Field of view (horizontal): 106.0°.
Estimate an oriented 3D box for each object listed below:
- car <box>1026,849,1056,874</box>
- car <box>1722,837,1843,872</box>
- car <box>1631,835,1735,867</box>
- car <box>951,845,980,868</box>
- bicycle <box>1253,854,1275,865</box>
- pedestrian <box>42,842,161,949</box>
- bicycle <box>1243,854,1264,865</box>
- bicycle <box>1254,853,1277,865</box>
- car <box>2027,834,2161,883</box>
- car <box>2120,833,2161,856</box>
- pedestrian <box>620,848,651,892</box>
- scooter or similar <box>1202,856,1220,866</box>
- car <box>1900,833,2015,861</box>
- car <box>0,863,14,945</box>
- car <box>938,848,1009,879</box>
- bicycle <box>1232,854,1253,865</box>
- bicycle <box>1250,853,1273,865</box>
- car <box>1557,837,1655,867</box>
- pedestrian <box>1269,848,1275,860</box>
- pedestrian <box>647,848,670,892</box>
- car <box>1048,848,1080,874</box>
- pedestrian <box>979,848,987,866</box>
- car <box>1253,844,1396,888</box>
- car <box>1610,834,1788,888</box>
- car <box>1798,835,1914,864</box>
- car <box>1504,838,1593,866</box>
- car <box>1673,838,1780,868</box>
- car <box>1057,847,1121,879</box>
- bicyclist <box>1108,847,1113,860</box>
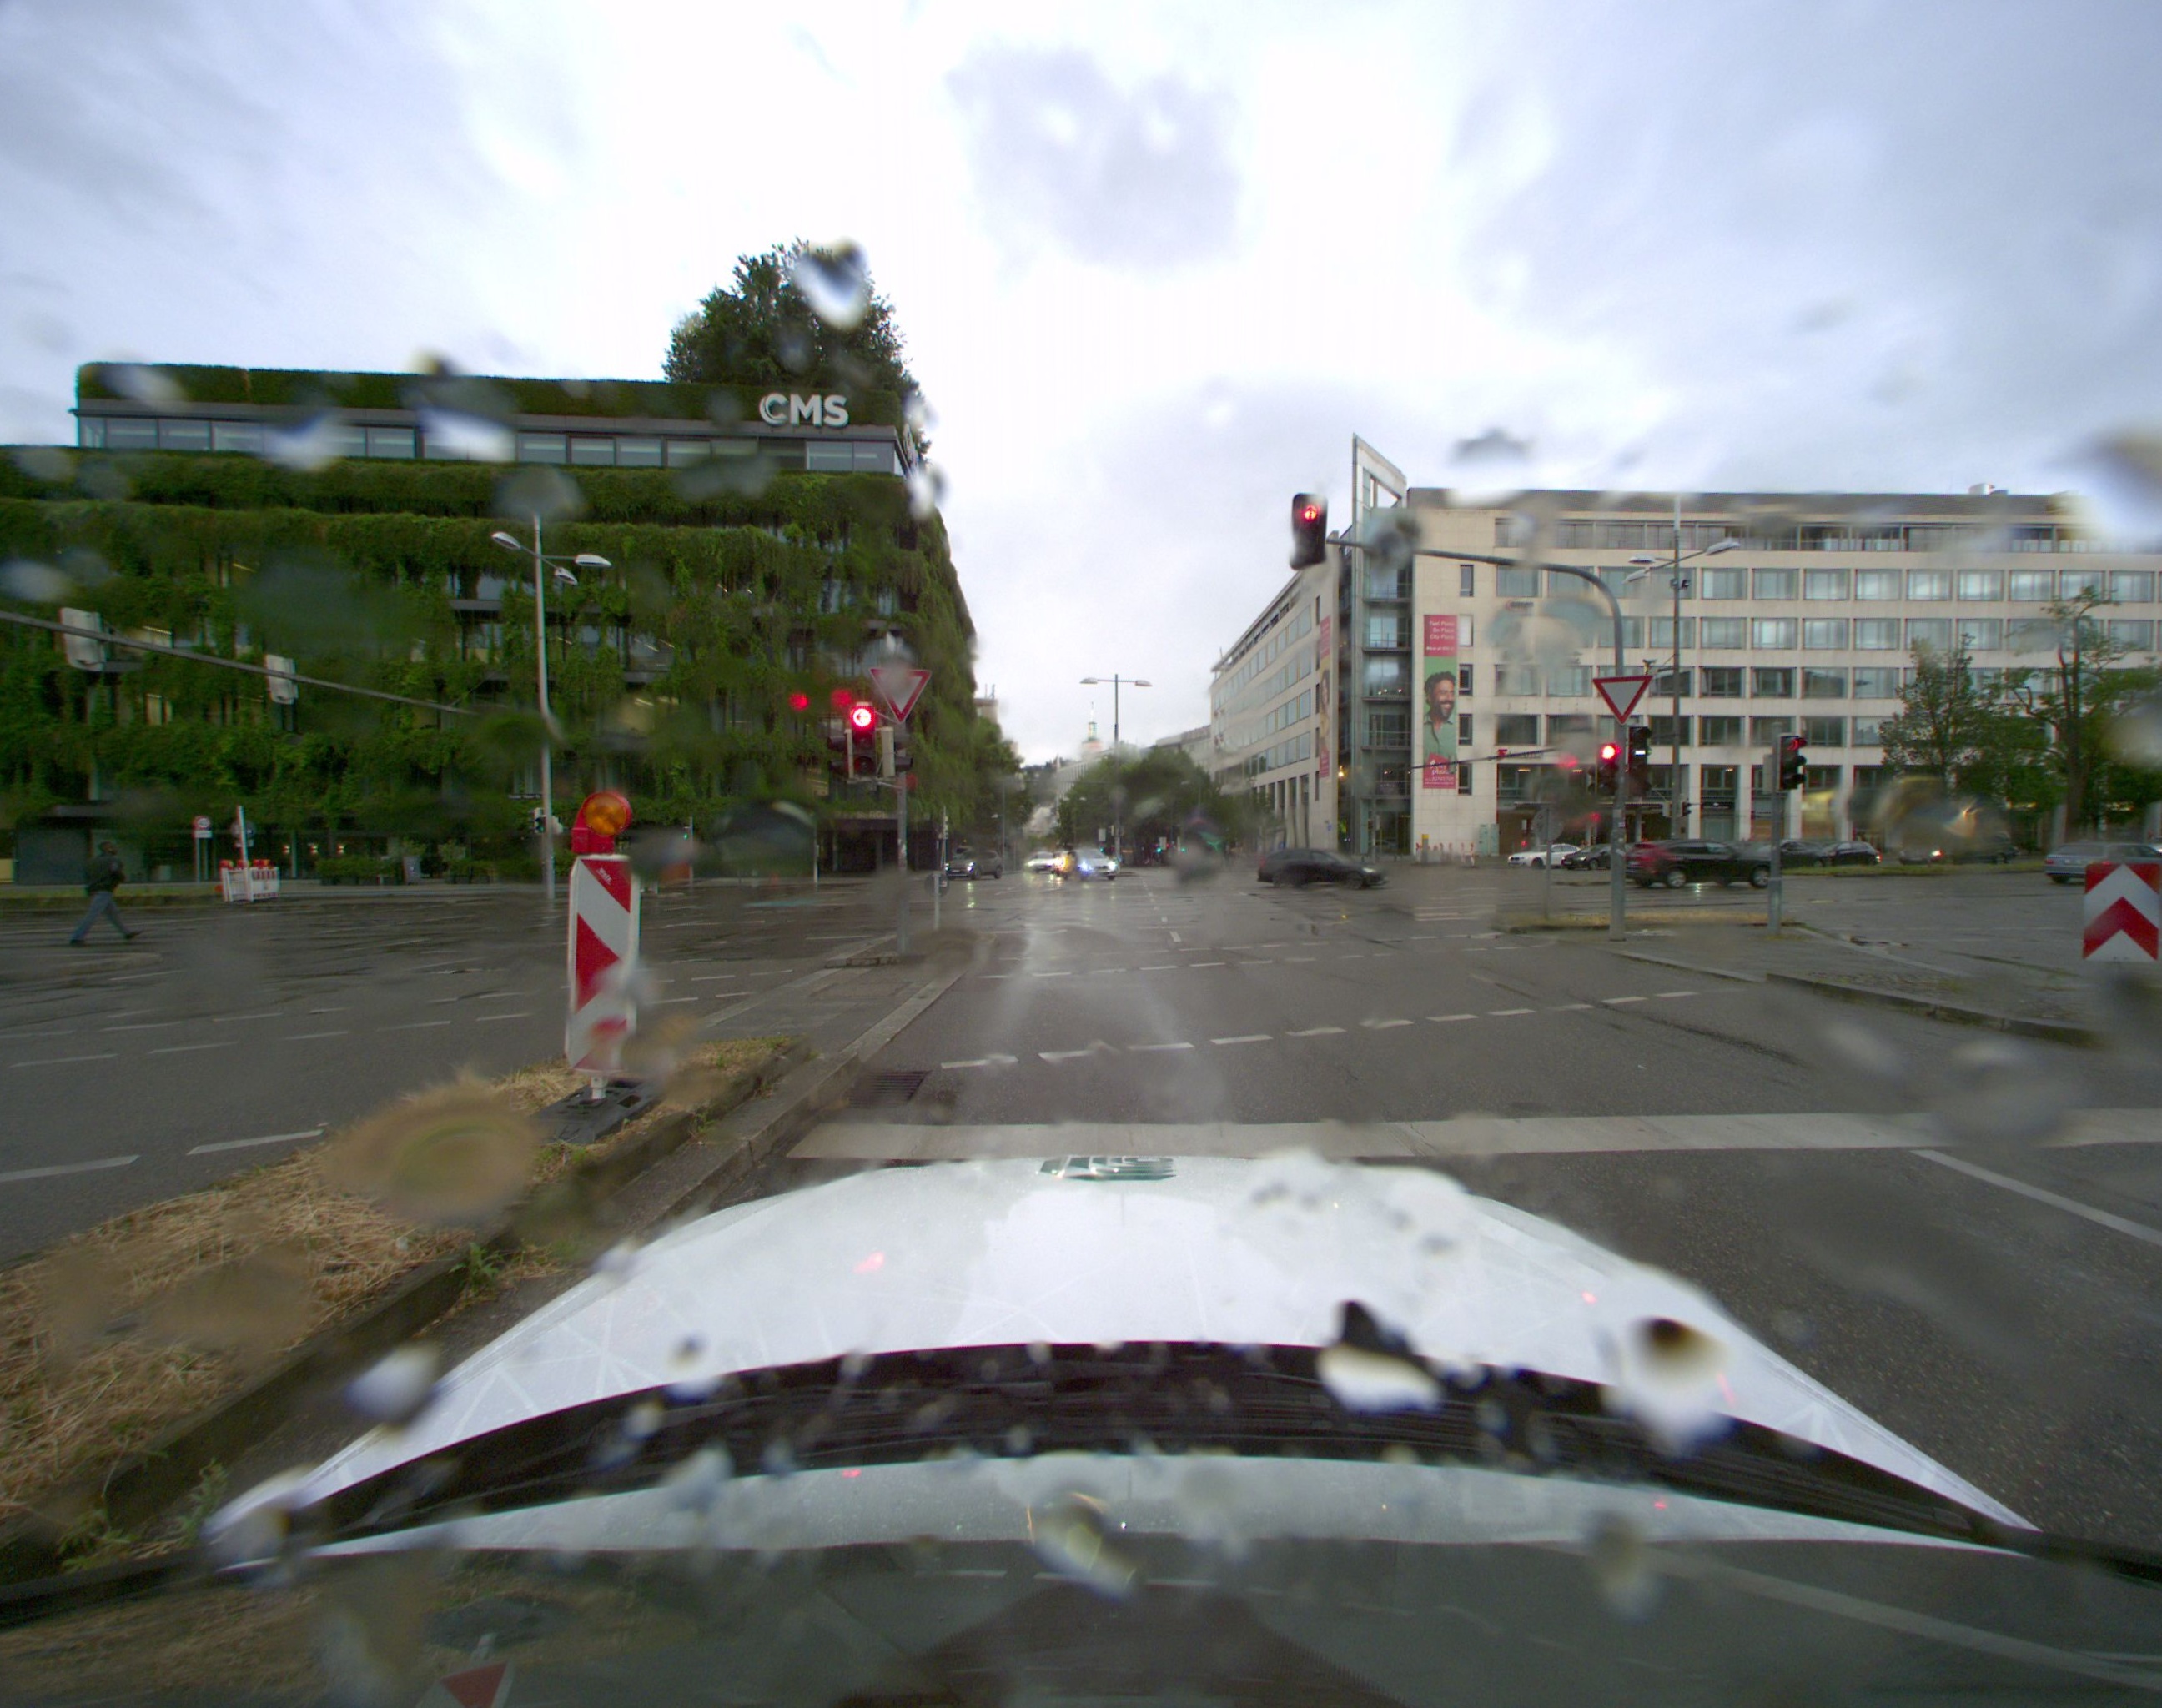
[{"bbox_3d":[-3.118,0.517,62.589,2.171,1.823,4.637,-1,0,-4],"label":"car"},{"bbox_3d":[31.153,0.004,36.185,4.452,1.464,1.716,-1,0,-11],"label":"car"},{"bbox_3d":[31.682,-0.176,42.902,4.455,1.598,1.991,-1,0,-13],"label":"car"},{"bbox_3d":[-9.697,0.210,68.712,1.989,1.895,4.461,-1,0,-2],"label":"car"},{"bbox_3d":[14.914,0.447,66.377,1.778,0.934,0.478,-1,0,43],"label":"bicycle"},{"bbox_3d":[-18.072,0.734,15.062,0.687,1.885,1.236,1,0,-3],"label":"pedestrian"},{"bbox_3d":[14.975,0.455,70.707,1.786,0.934,0.476,-1,0,4],"label":"bicycle"},{"bbox_3d":[14.852,0.408,65.633,1.778,0.934,0.478,-1,0,43],"label":"bicycle"},{"bbox_3d":[35.036,0.113,27.617,4.452,1.486,1.992,-2,1,-12],"label":"car"},{"bbox_3d":[65.062,-0.607,48.370,4.628,1.348,1.923,-1,0,-6],"label":"car"},{"bbox_3d":[-18.138,0.641,33.183,0.939,1.758,1.163,-1,0,-22],"label":"pedestrian"},{"bbox_3d":[12.728,0.679,79.644,1.750,0.878,0.486,-1,0,-18],"label":"scooter or similar"},{"bbox_3d":[45.249,-0.357,42.059,4.637,1.348,1.919,-1,0,-12],"label":"car"},{"bbox_3d":[-27.134,1.207,18.217,3.451,1.922,1.992,-1,0,-11],"label":"car"},{"bbox_3d":[-5.933,0.507,45.354,1.976,1.598,4.488,-1,0,21],"label":"car"},{"bbox_3d":[14.408,0.471,72.570,1.786,0.934,0.476,-1,0,4],"label":"bicycle"},{"bbox_3d":[14.193,0.415,64.040,1.778,0.934,0.478,-1,0,43],"label":"bicycle"},{"bbox_3d":[29.215,-0.121,45.379,4.451,1.598,1.993,-1,0,-10],"label":"car"},{"bbox_3d":[18.022,-0.023,77.032,0.410,1.173,0.356,-2,-1,44],"label":"pedestrian"},{"bbox_3d":[-17.331,0.630,33.423,0.744,1.758,0.969,-1,0,-22],"label":"pedestrian"},{"bbox_3d":[-1.078,0.418,52.549,1.988,1.529,4.554,-1,1,-1],"label":"car"},{"bbox_3d":[-8.153,0.234,67.553,0.605,1.524,0.587,-1,0,-3],"label":"pedestrian"},{"bbox_3d":[8.741,0.397,29.377,4.561,1.448,1.874,0,1,36],"label":"car"},{"bbox_3d":[20.418,0.215,27.075,4.327,1.655,1.974,-1,1,6],"label":"car"},{"bbox_3d":[39.078,-0.235,41.105,4.637,1.348,1.919,-1,0,-12],"label":"car"},{"bbox_3d":[27.931,-0.131,48.687,4.456,1.598,1.991,-1,0,-14],"label":"car"},{"bbox_3d":[31.309,-0.050,39.531,4.455,1.348,1.715,-1,0,-13],"label":"car"},{"bbox_3d":[0.320,0.404,41.088,1.998,1.443,4.531,-2,1,-16],"label":"car"},{"bbox_3d":[4.492,-0.060,123.311,0.788,1.975,1.114,-1,0,1],"label":"bicyclist"}]
